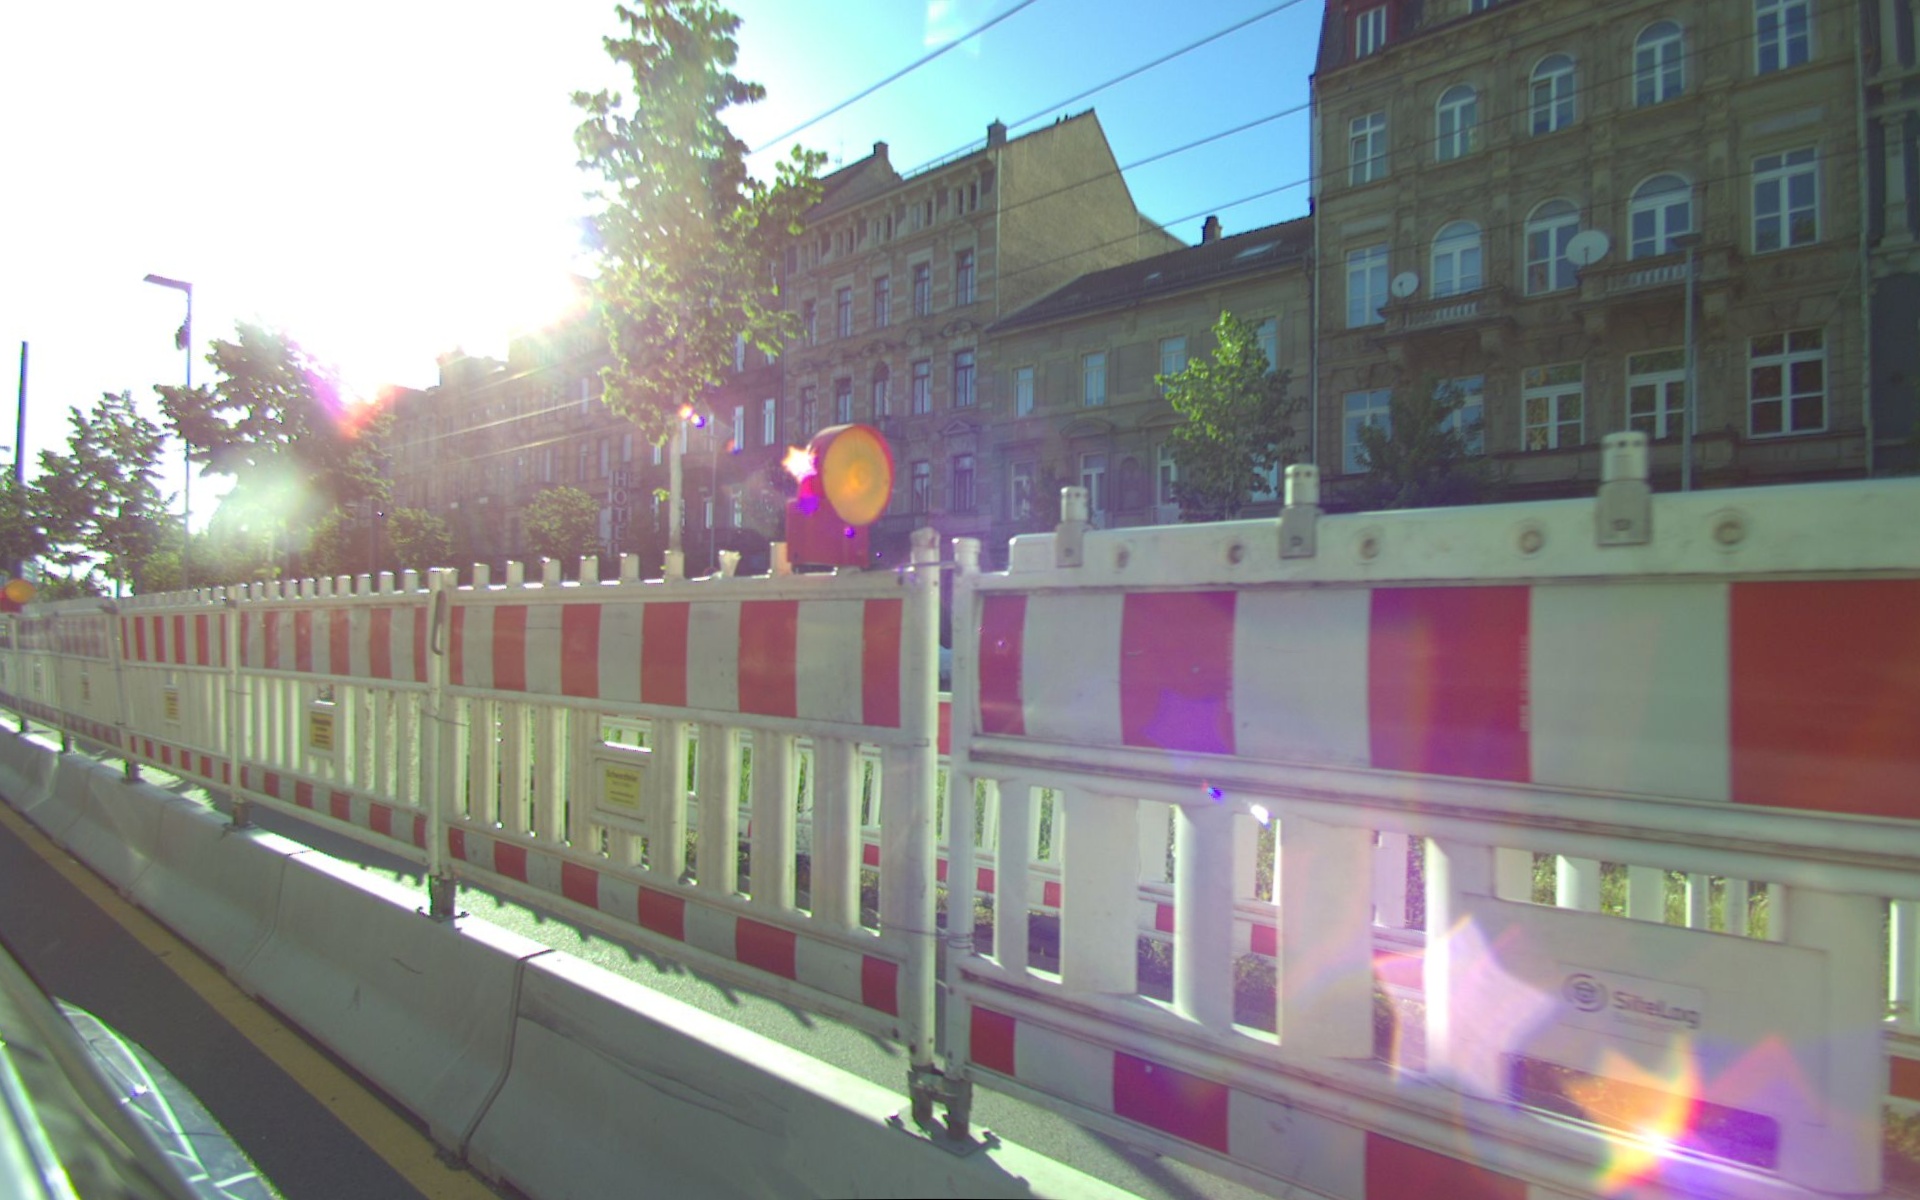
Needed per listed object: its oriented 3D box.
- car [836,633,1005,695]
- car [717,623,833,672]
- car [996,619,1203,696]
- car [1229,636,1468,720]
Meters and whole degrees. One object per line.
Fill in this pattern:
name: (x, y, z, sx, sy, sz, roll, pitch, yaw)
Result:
car: (-1.243, 1.804, 29.720, 4.982, 1.549, 1.973, -1, 0, 41)
car: (-6.268, 1.561, 34.131, 4.026, 1.490, 1.730, -1, 0, 41)
car: (3.436, 1.358, 25.548, 4.884, 1.710, 1.973, -1, 0, 40)
car: (8.127, 1.557, 21.351, 4.305, 1.449, 1.973, -1, 0, 40)
